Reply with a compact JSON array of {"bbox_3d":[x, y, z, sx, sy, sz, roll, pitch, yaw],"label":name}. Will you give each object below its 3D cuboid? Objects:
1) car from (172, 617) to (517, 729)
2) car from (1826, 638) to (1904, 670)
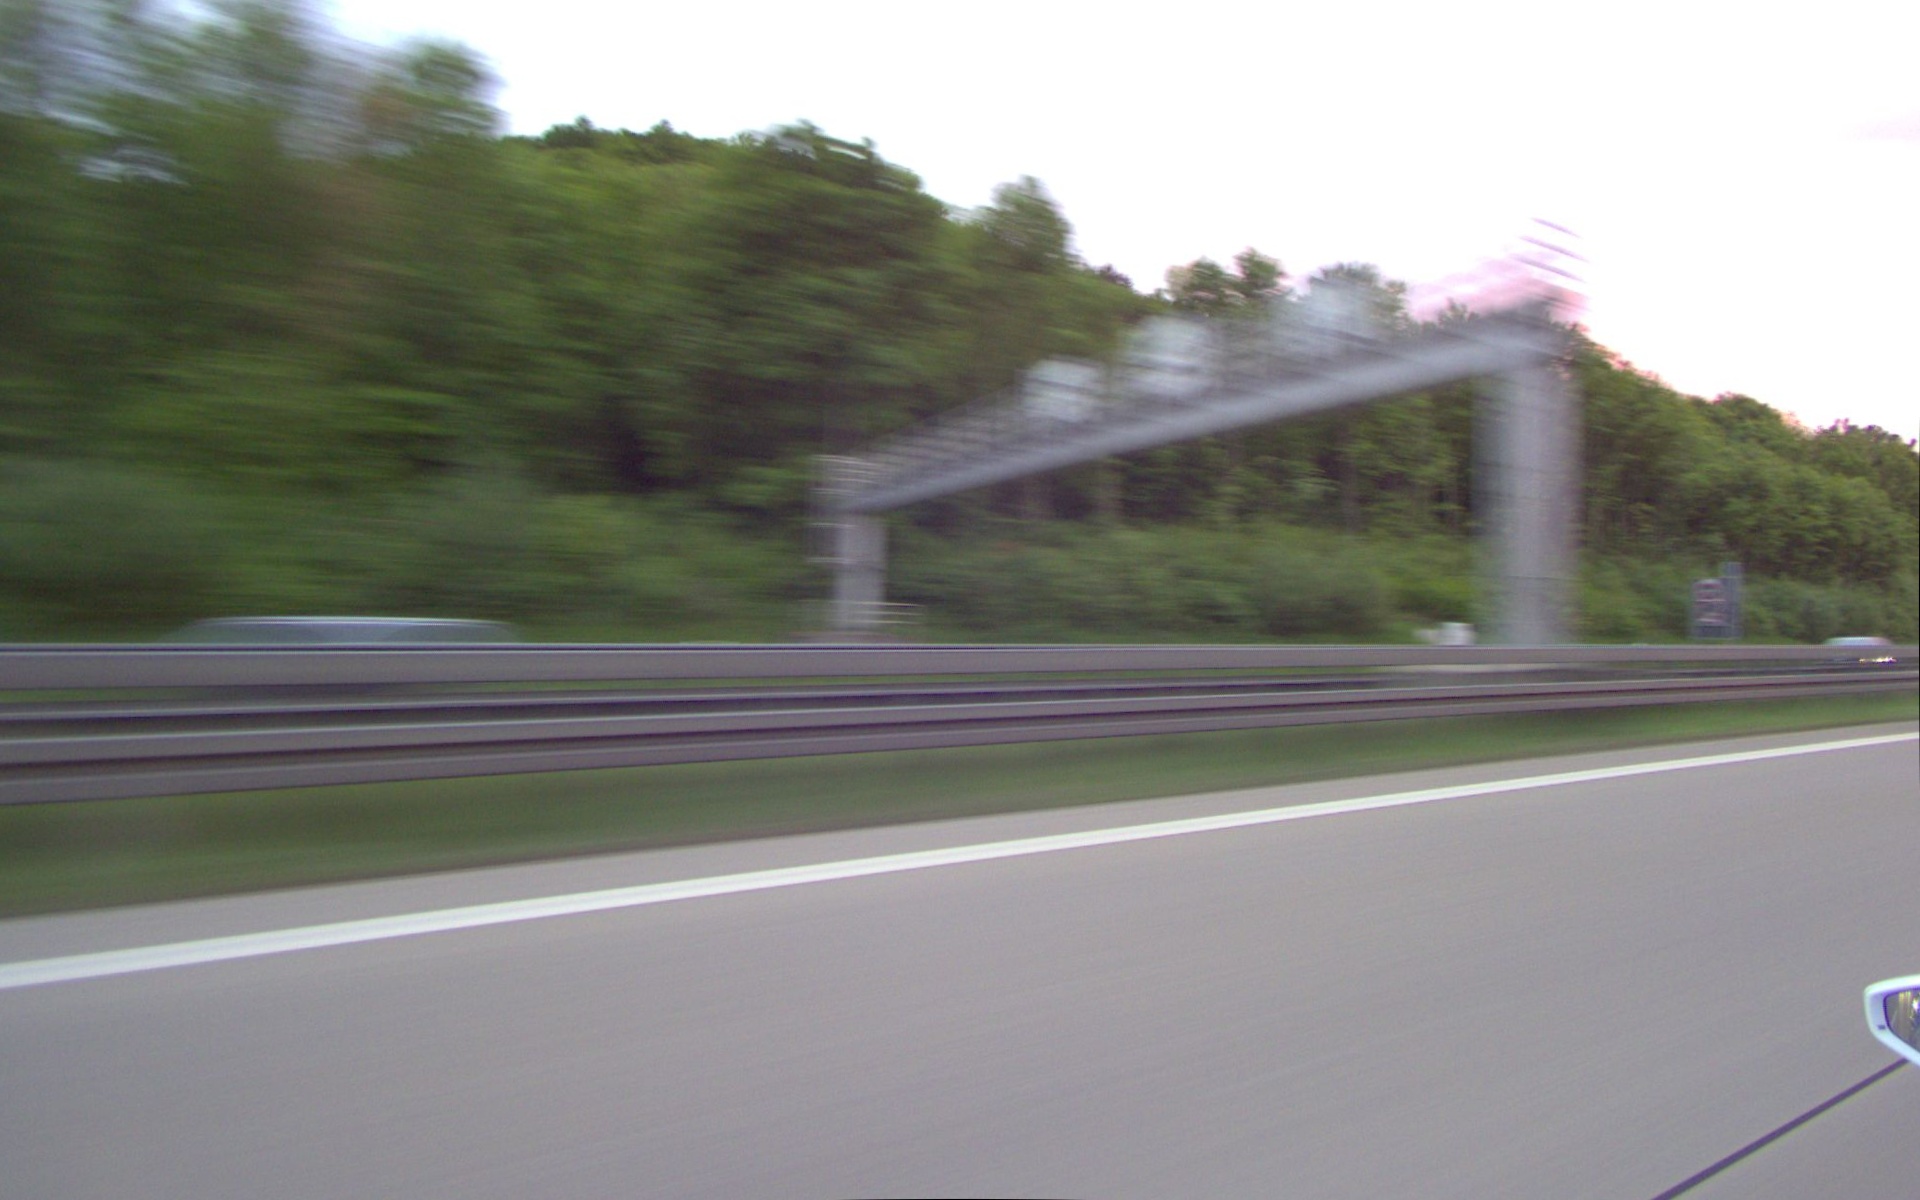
[{"bbox_3d":[-10.178,1.181,17.039,4.719,1.660,1.840,2,-1,-30],"label":"car"},{"bbox_3d":[45.463,2.704,50.441,4.340,1.501,1.753,2,-1,-31],"label":"car"}]
